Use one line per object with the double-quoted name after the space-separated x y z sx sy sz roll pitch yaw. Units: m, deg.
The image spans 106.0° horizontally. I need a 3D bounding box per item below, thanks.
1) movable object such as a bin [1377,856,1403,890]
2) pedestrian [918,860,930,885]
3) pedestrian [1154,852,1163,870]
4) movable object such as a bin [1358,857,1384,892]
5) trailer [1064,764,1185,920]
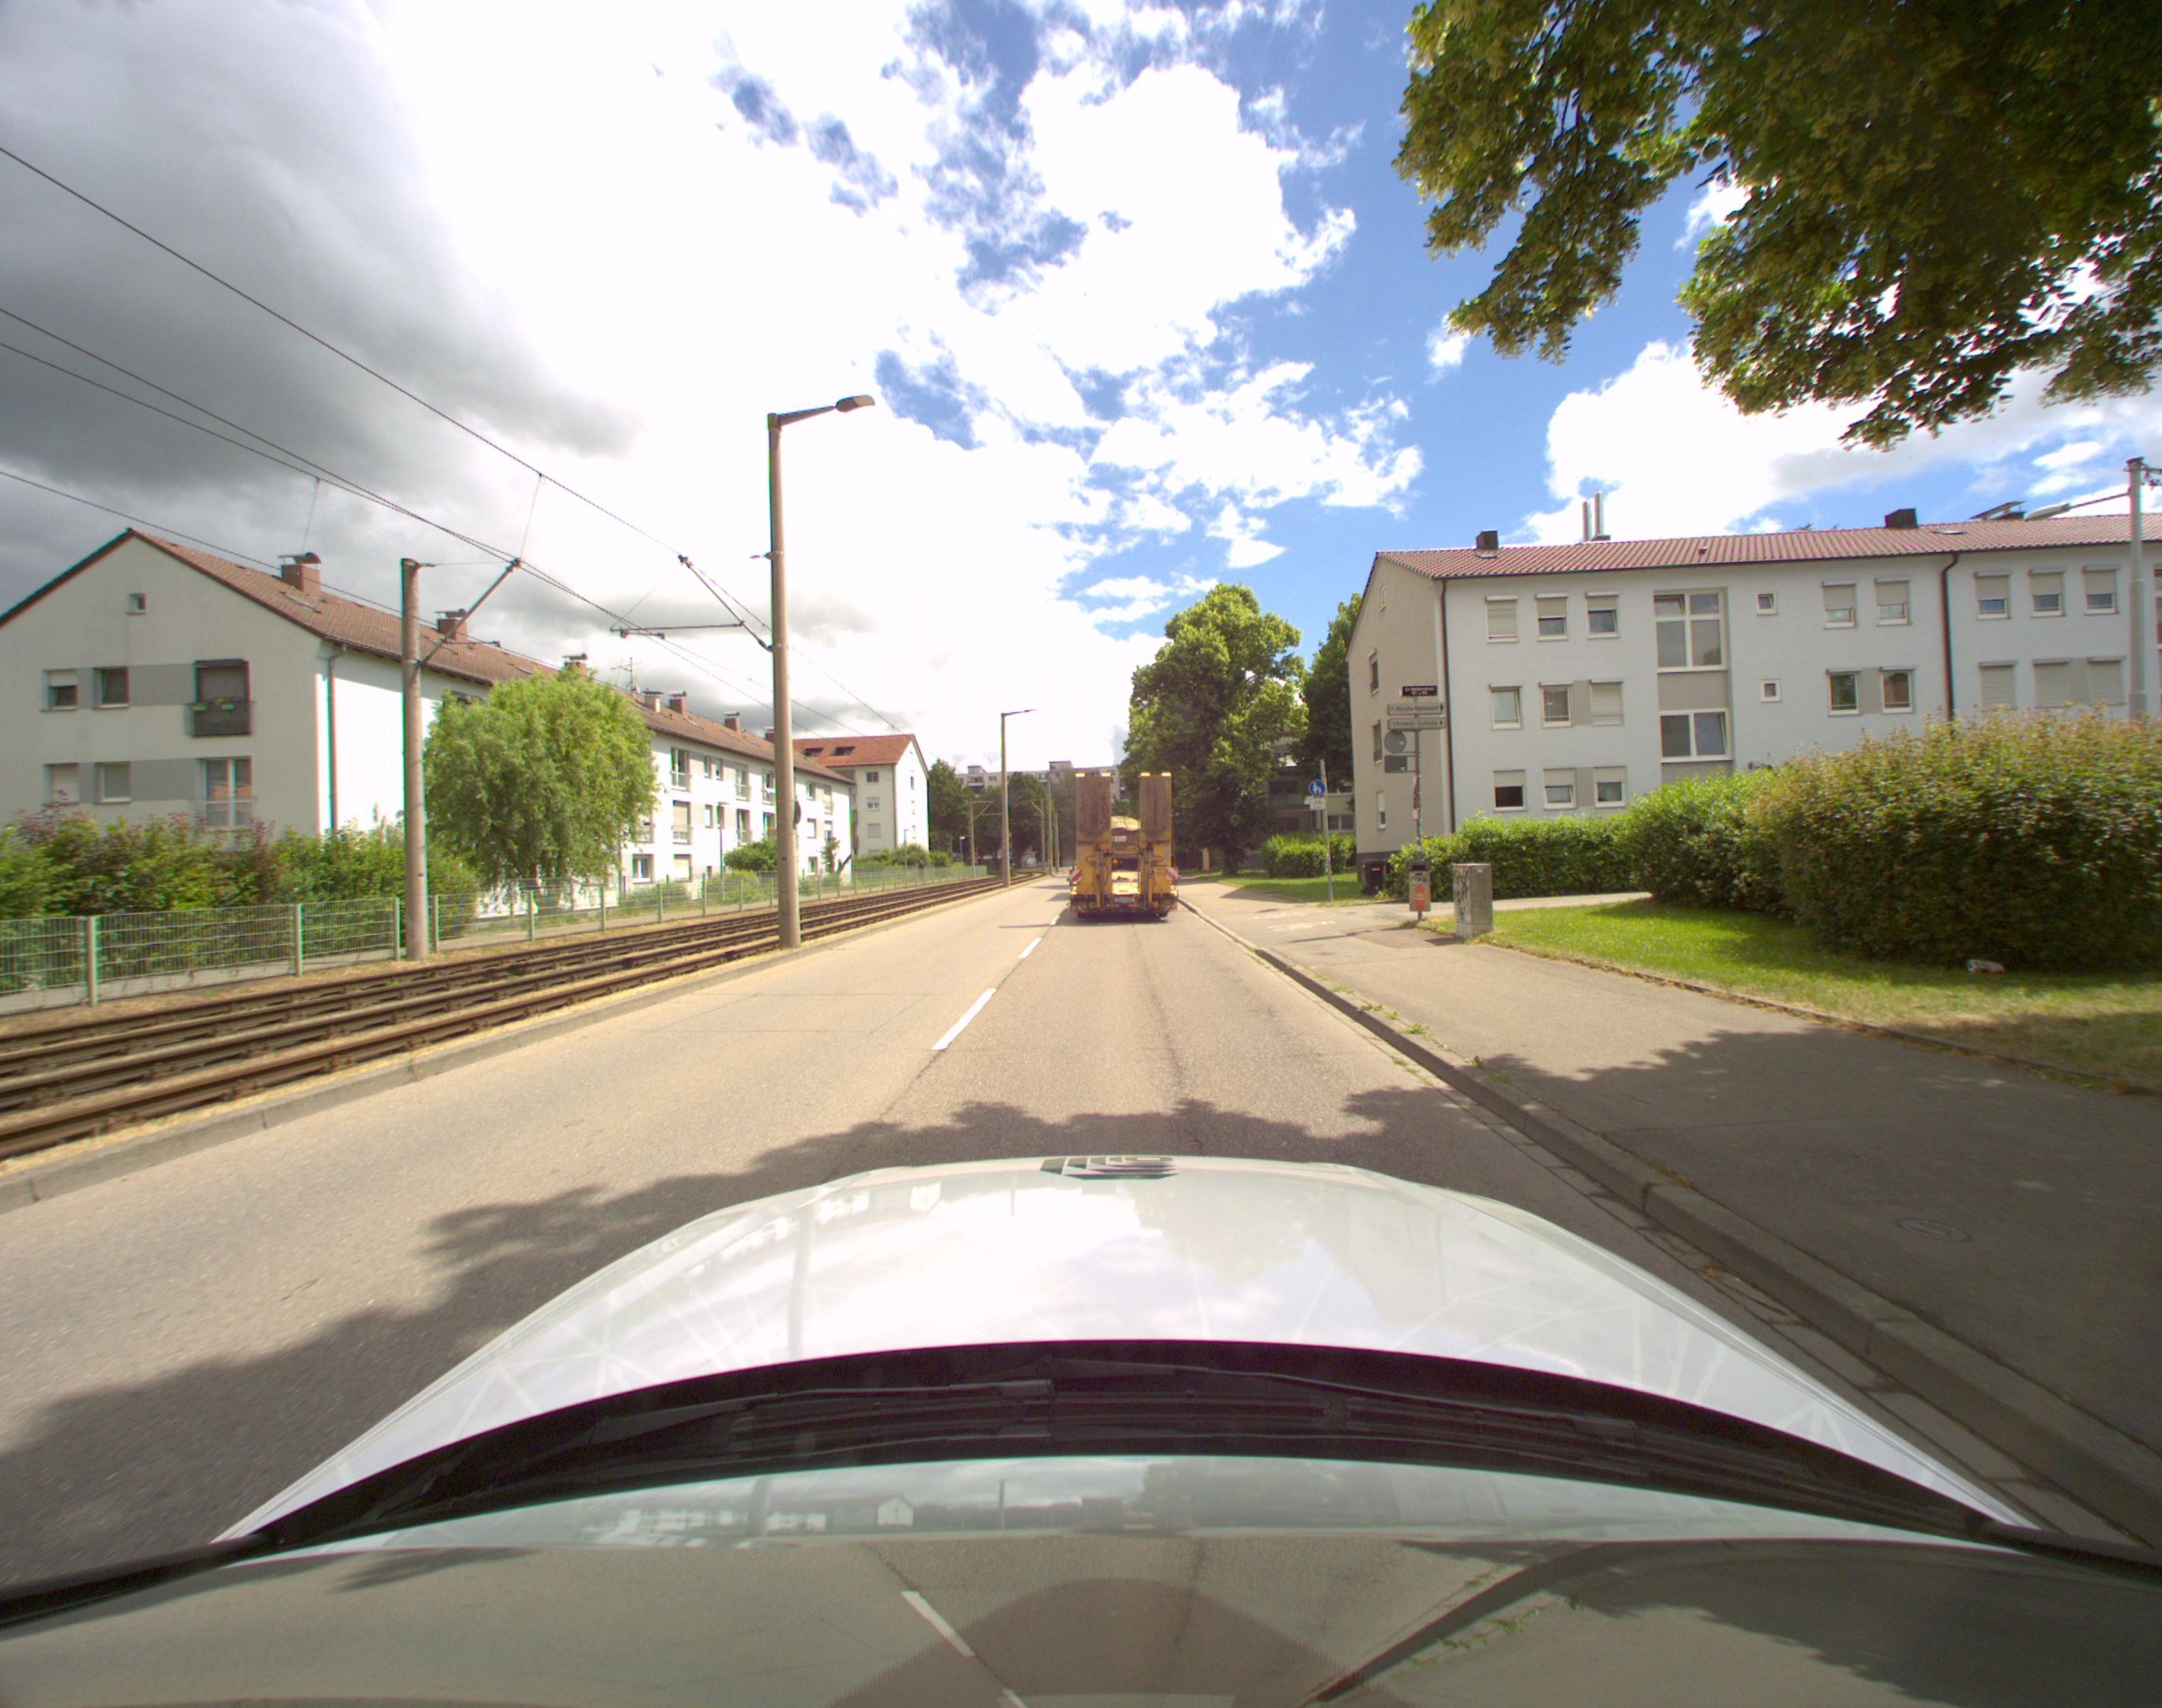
8.754 0.532 23.093 0.498 0.947 0.551 -3 -1 2 "movable object such as a bin"
-11.879 1.417 61.546 0.656 1.849 0.769 -3 -1 2 "pedestrian"
7.627 0.722 80.454 0.715 1.706 0.766 -3 0 2 "pedestrian"
8.228 0.562 23.086 0.494 0.955 0.580 -3 -1 2 "movable object such as a bin"
1.078 -0.250 25.200 2.818 3.646 12.353 0 0 1 "trailer"
